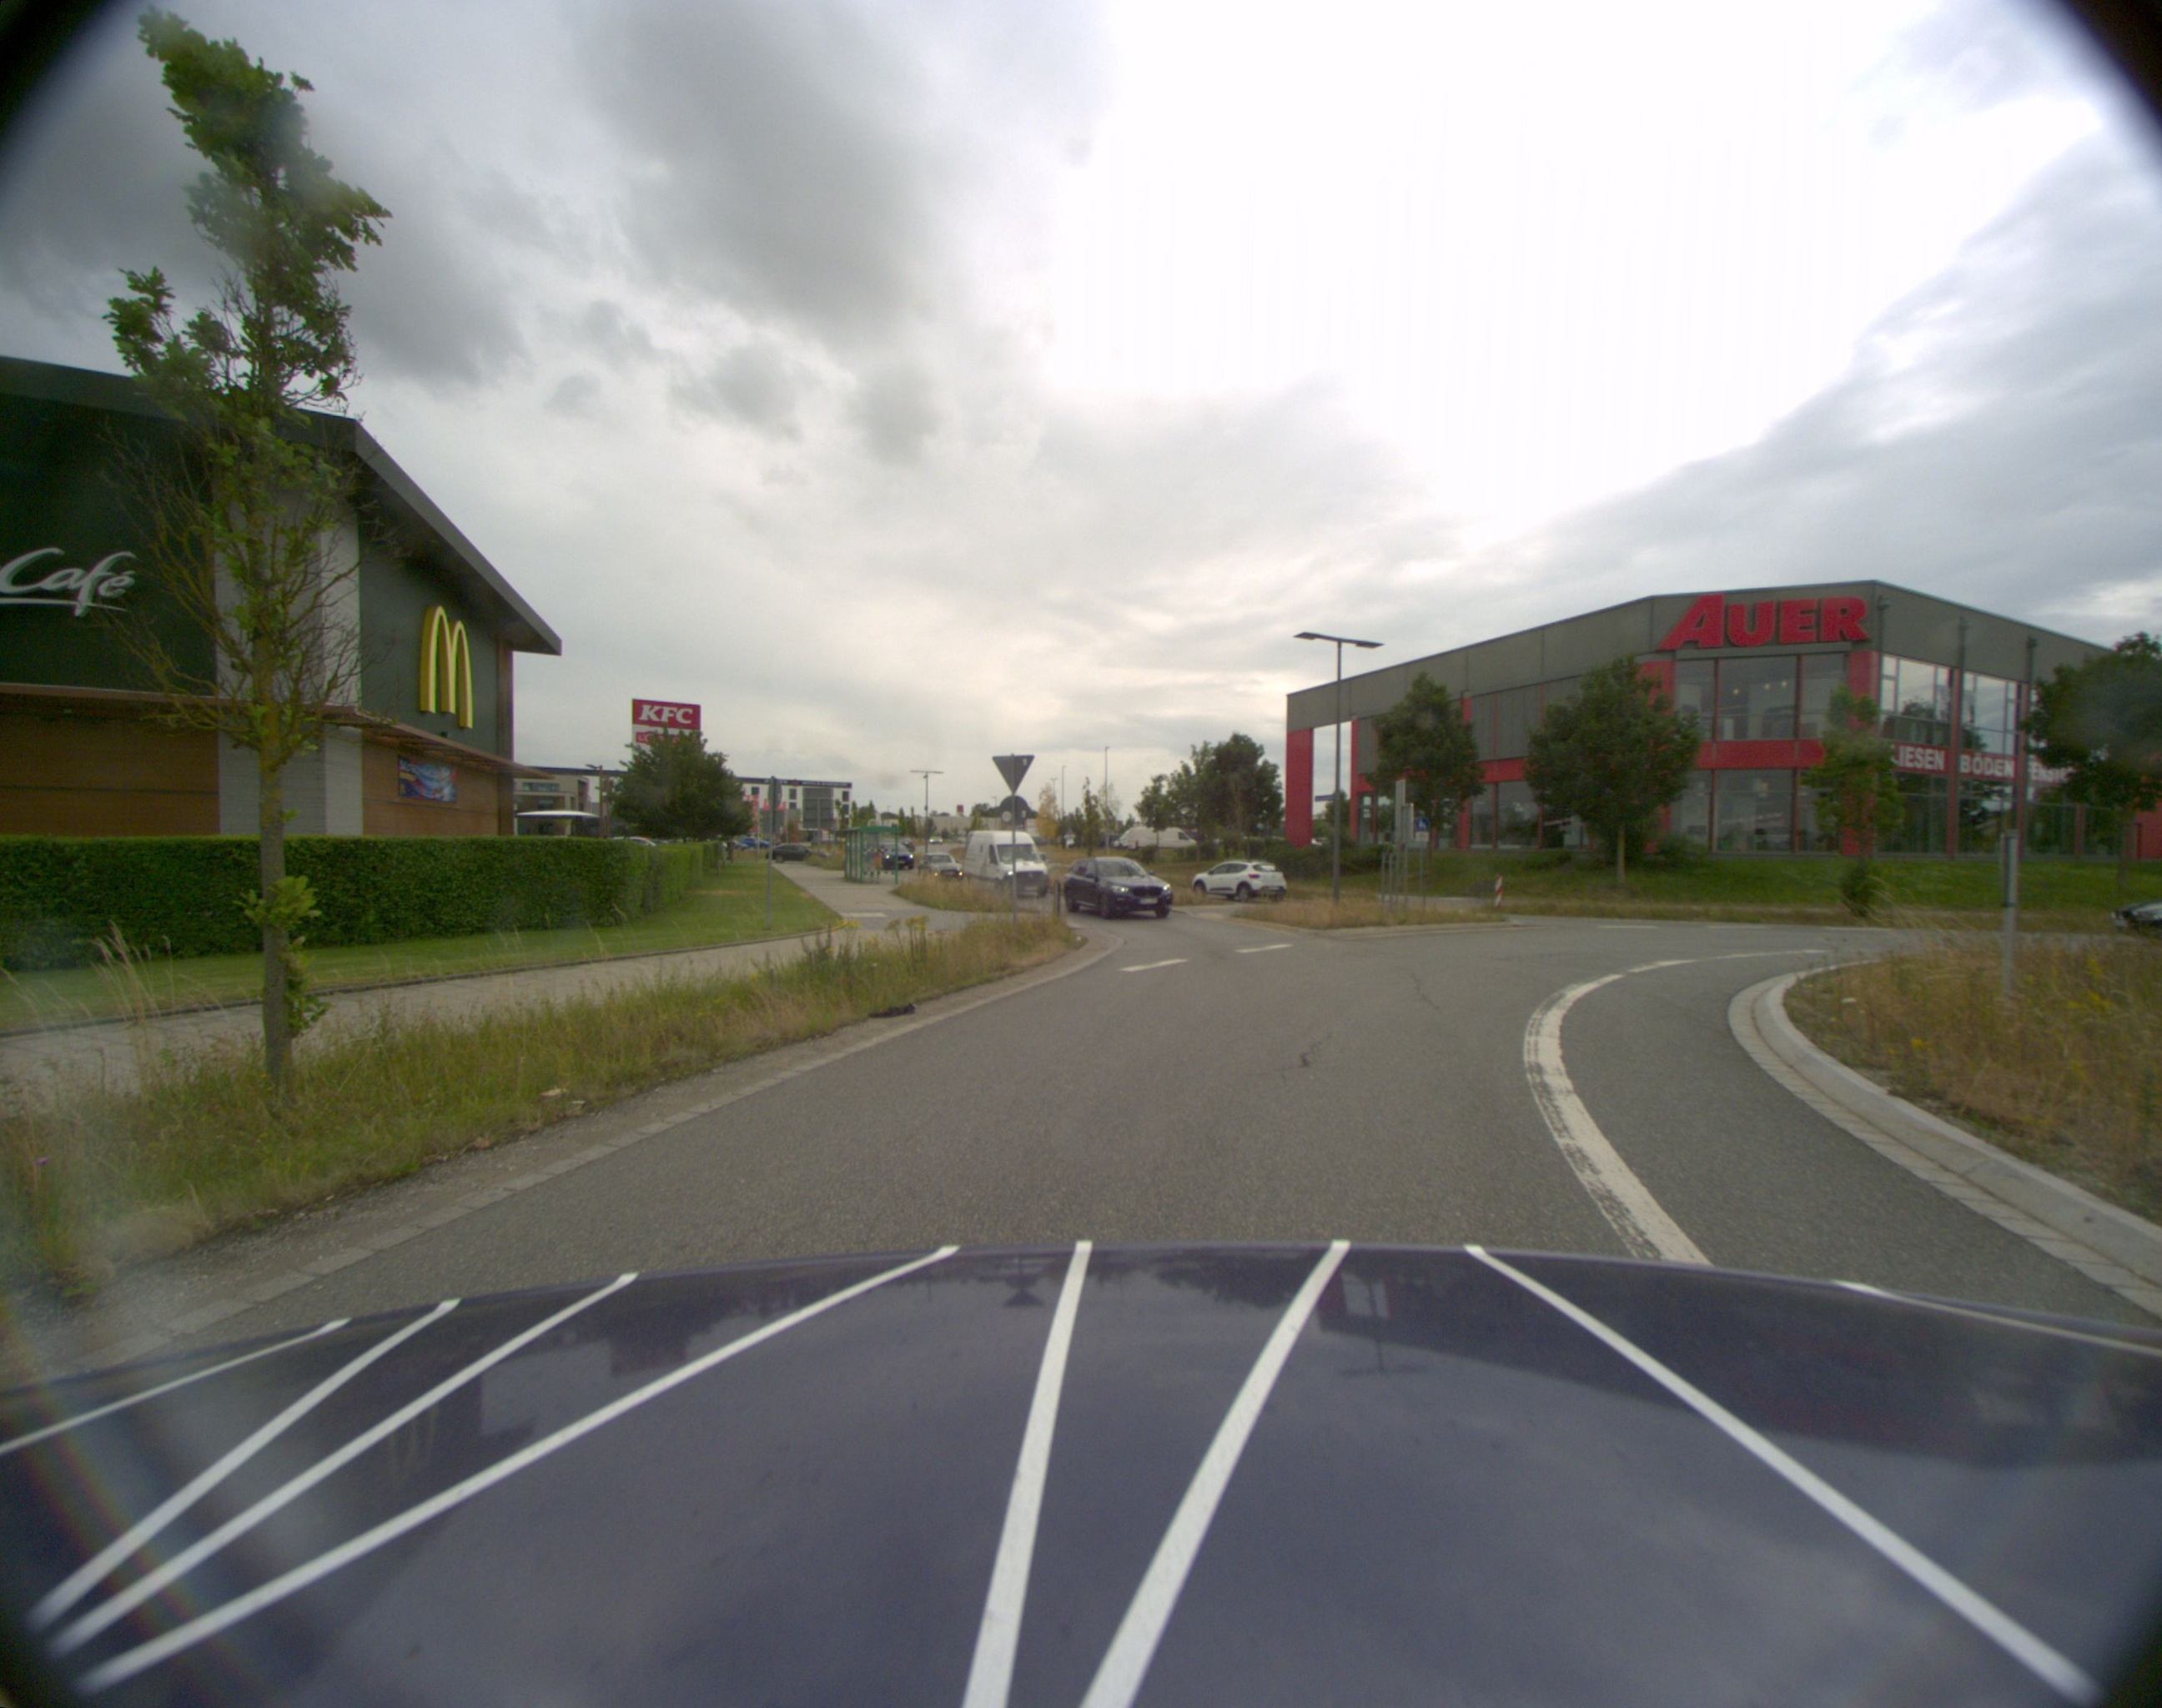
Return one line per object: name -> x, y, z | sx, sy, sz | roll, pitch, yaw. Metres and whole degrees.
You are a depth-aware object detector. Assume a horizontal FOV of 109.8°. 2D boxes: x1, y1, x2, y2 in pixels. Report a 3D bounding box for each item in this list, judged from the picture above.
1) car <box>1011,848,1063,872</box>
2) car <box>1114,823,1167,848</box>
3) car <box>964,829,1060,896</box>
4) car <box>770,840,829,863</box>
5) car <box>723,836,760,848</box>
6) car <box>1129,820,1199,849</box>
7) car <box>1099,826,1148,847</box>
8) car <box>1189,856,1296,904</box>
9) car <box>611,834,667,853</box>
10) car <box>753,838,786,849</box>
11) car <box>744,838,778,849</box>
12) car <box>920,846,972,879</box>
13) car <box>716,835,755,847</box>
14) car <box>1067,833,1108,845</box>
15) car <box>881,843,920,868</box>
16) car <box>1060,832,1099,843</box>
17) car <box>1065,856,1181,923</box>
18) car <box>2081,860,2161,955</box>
car -> -2.837, 0.355, 47.992 | 1.730, 1.400, 4.633 | 0, 0, -25
car -> 6.057, -1.941, 77.271 | 5.063, 2.360, 2.059 | -2, 4, -24
car -> -3.040, 0.242, 31.734 | 2.030, 2.513, 6.090 | -1, 2, -25
car -> -20.906, -0.208, 56.590 | 4.003, 1.478, 1.843 | -2, 3, -21
car -> -43.600, -1.541, 97.588 | 4.001, 1.478, 1.845 | 0, 2, -12
car -> 7.934, -1.876, 72.776 | 6.425, 2.610, 2.060 | -2, 4, -20
car -> 4.728, -1.949, 84.975 | 5.061, 2.211, 2.061 | 0, 2, -17
car -> 6.139, 0.946, 29.319 | 1.736, 1.549, 4.075 | 1, 2, -29
car -> -37.688, -0.943, 64.913 | 4.005, 1.478, 1.842 | -2, 4, -28
car -> -45.065, -1.486, 109.881 | 3.999, 1.478, 1.845 | -1, 3, -7
car -> -45.072, -1.494, 107.215 | 3.999, 1.478, 1.845 | -1, 3, -7
car -> -7.225, 0.403, 40.335 | 1.871, 1.599, 3.991 | 0, 2, -23
car -> -42.138, -1.573, 92.629 | 4.001, 1.478, 1.845 | 0, 2, -12
car -> 0.857, -1.966, 100.130 | 5.060, 1.647, 2.061 | 0, 2, -14
car -> -12.281, 0.071, 51.549 | 1.871, 1.599, 3.991 | 0, 2, -23
car -> -0.220, -2.346, 107.609 | 5.060, 1.647, 2.061 | 0, 2, -14
car -> 1.091, 0.918, 21.799 | 1.870, 1.599, 3.992 | 0, 2, -21
car -> 21.618, 1.018, 13.443 | 4.284, 1.599, 2.003 | 1, 4, 36
